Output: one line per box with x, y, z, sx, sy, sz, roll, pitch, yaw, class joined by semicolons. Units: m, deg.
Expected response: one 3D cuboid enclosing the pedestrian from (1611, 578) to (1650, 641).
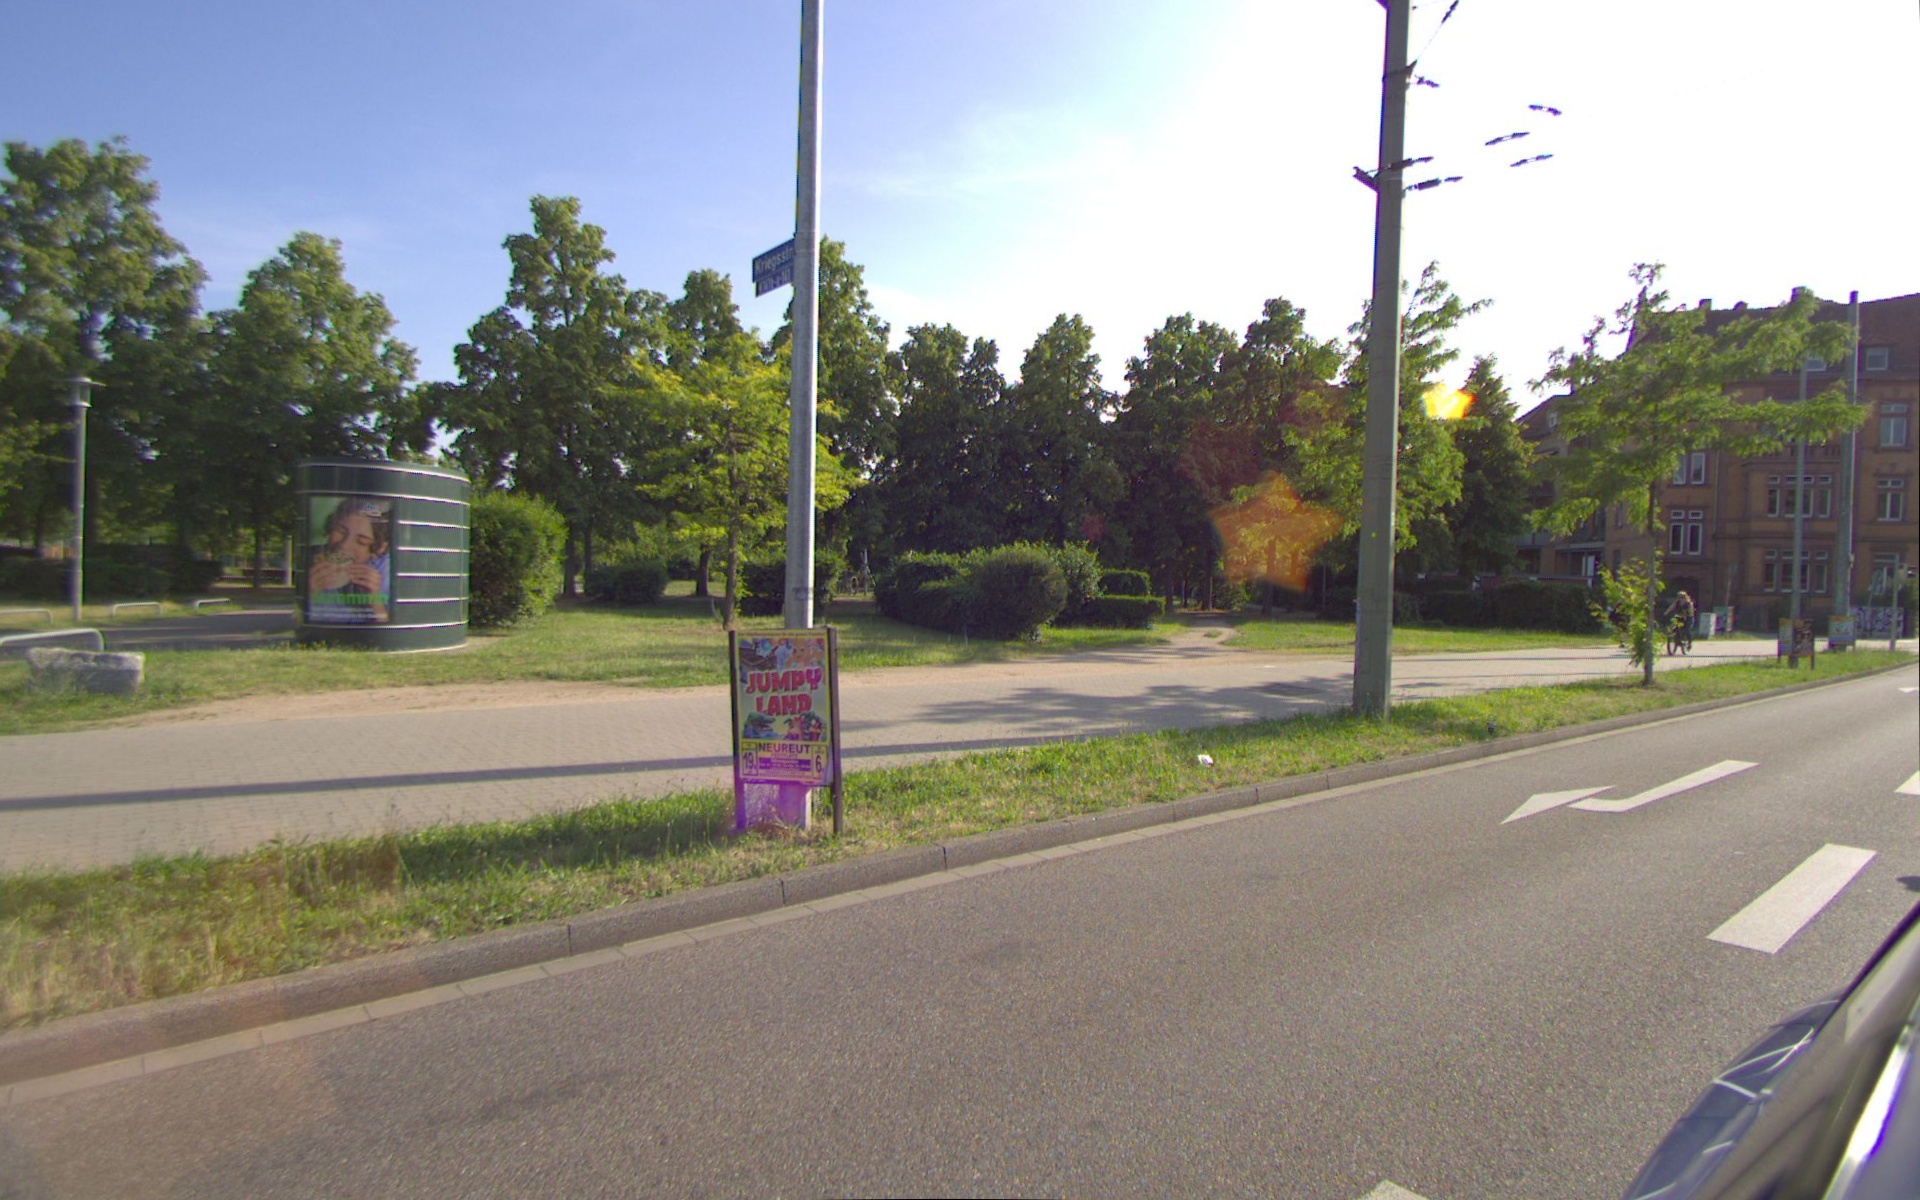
19.210;0.267;28.994;0.538;1.711;0.617;1;6;-36;pedestrian

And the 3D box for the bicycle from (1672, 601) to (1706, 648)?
19.487;0.643;27.054;1.316;1.205;0.484;1;0;-43;bicycle

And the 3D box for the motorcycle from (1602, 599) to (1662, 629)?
28.475;0.585;42.915;0.696;1.174;1.997;1;0;-45;motorcycle

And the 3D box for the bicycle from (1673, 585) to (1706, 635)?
19.505;0.269;27.061;0.677;1.314;0.574;1;0;-44;bicycle
